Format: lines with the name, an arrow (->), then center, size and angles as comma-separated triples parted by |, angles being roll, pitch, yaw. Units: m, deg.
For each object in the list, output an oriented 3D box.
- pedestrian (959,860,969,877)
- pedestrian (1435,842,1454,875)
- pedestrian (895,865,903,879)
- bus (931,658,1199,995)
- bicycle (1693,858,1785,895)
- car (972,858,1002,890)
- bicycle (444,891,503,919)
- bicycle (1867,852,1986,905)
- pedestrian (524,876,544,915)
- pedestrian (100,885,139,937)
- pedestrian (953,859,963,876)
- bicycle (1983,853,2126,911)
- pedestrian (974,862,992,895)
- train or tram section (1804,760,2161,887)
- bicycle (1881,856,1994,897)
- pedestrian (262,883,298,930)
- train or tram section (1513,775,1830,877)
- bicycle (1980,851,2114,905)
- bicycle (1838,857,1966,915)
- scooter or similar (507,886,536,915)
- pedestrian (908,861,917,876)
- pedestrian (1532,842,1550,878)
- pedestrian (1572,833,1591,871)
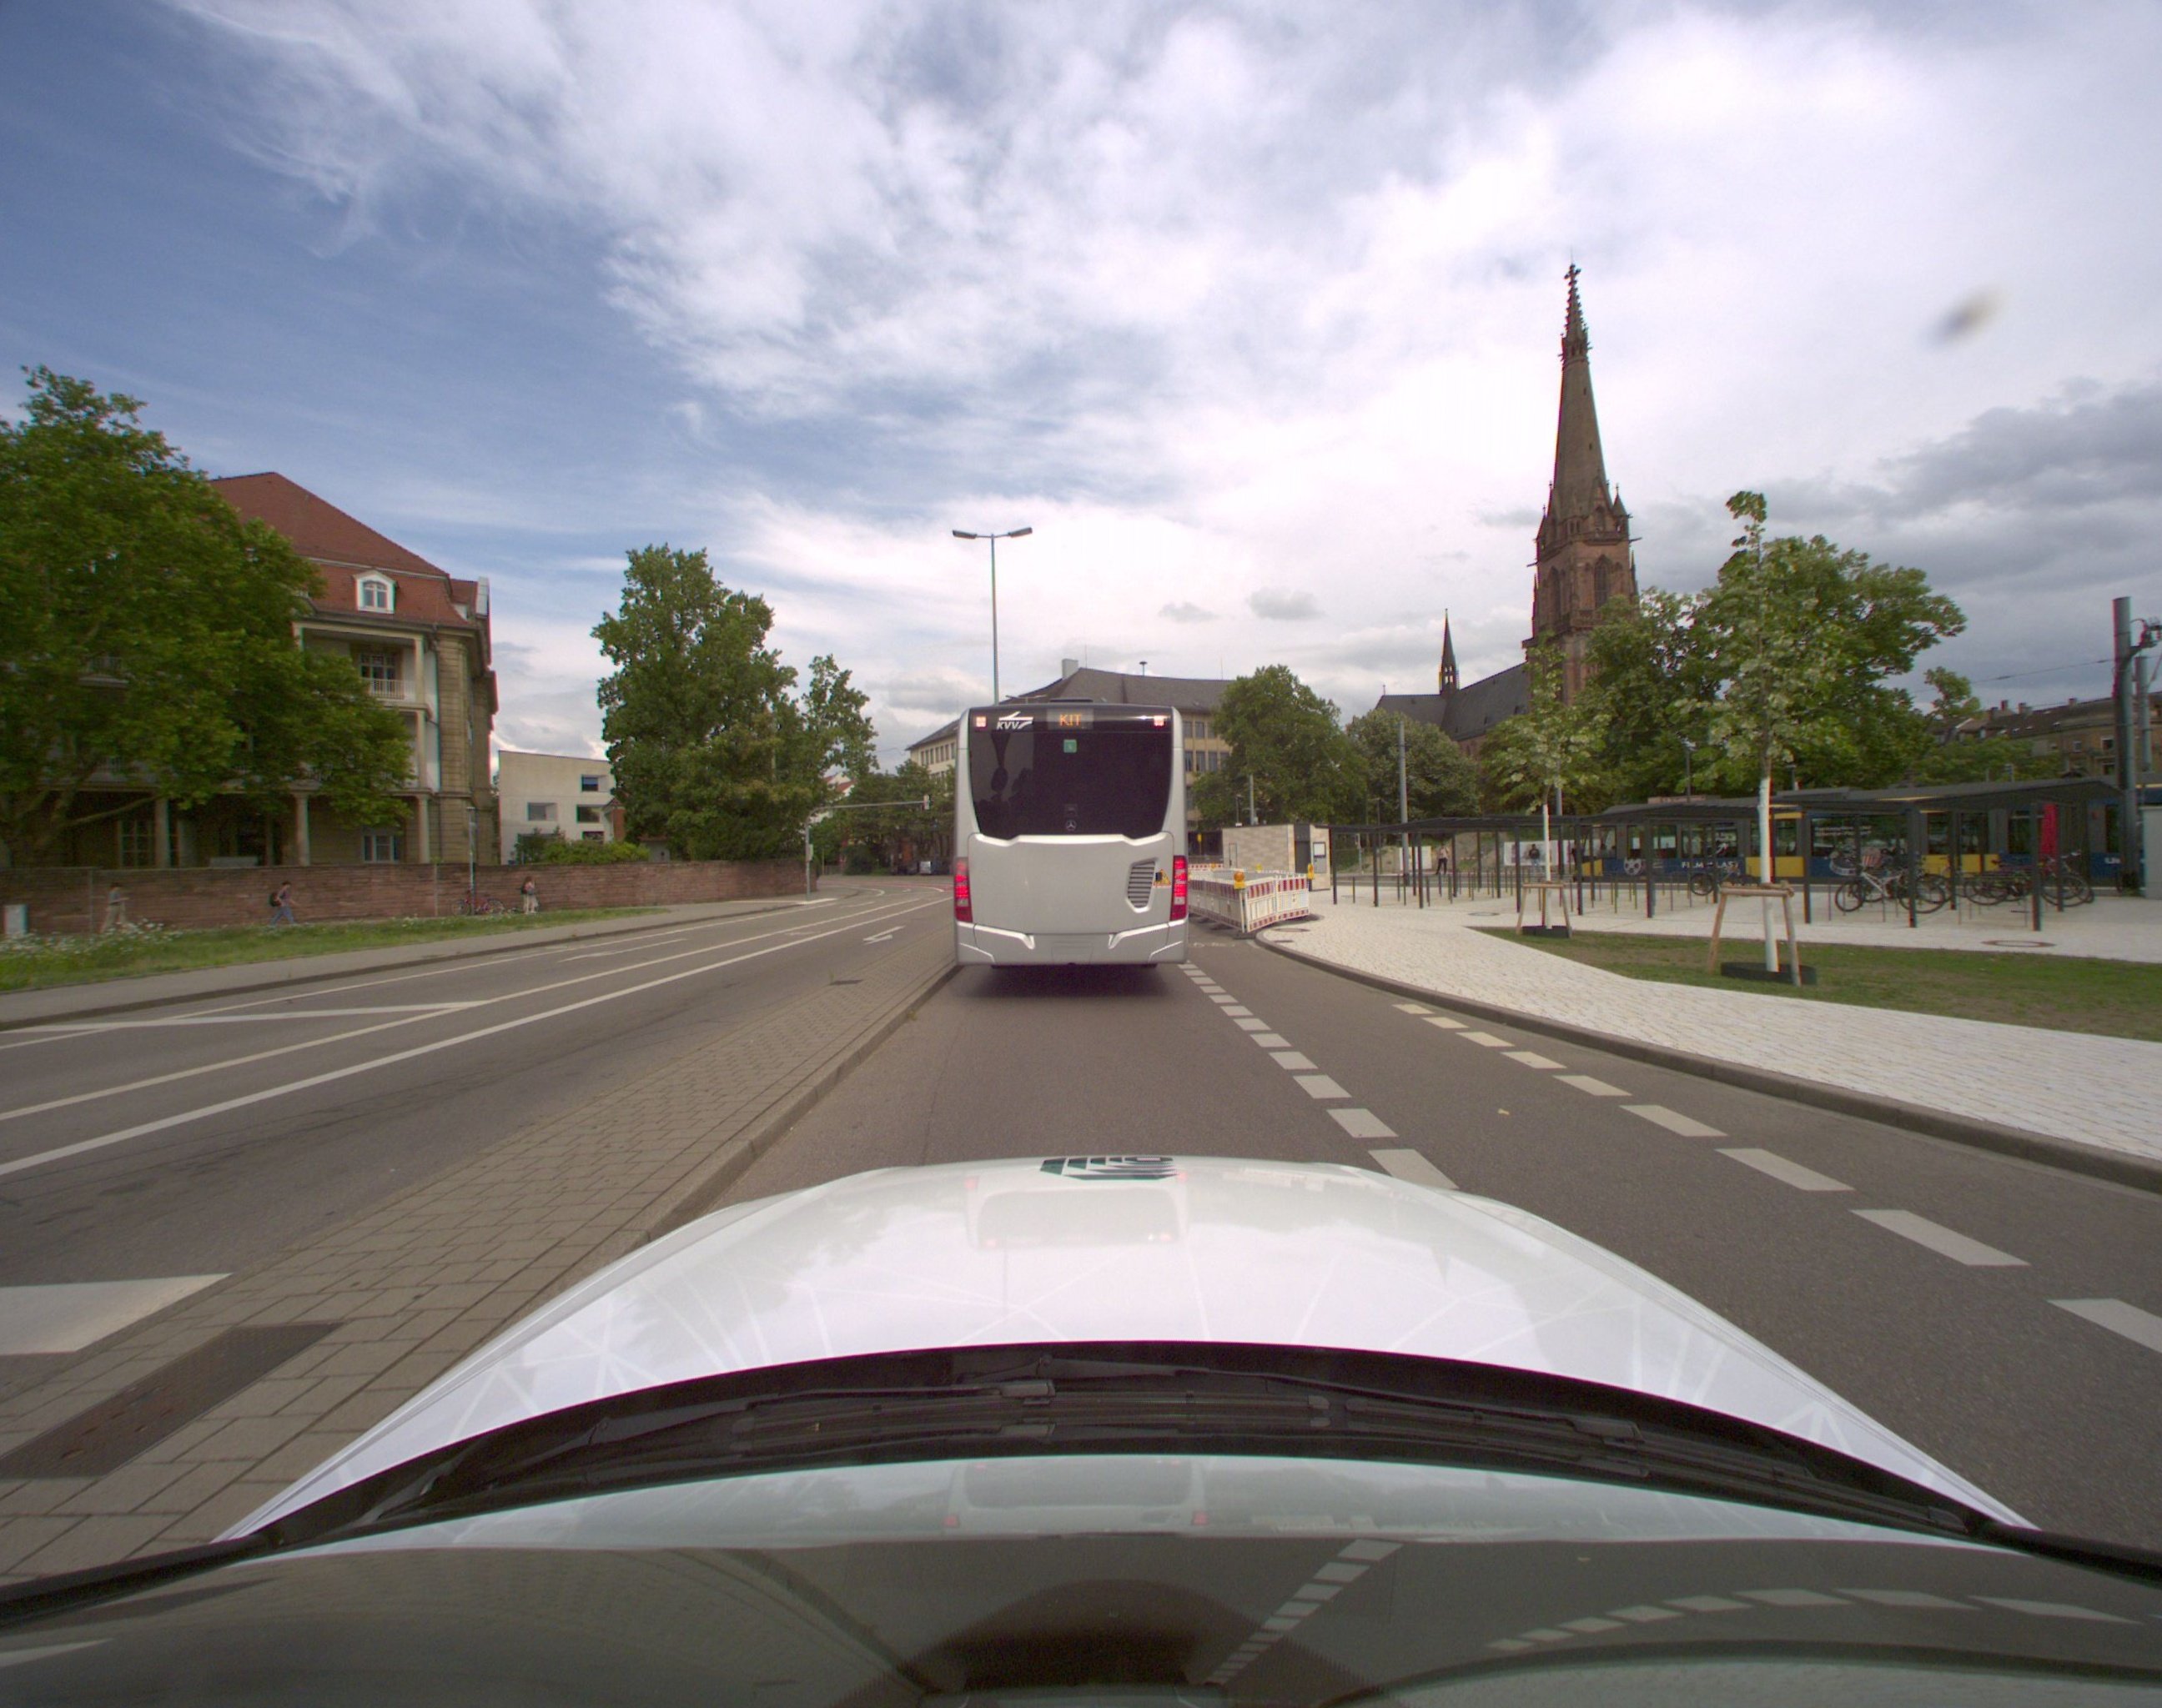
pedestrian -> -14.118, 1.733, 97.907 | 0.892, 2.013, 1.000 | -1, 0, -27
pedestrian -> 20.136, 0.231, 45.156 | 0.816, 1.800, 0.754 | -1, 2, 11
pedestrian -> -25.941, 2.573, 116.124 | 0.892, 2.013, 1.000 | -1, 0, -27
bus -> -0.437, -0.180, 15.509 | 2.698, 3.438, 14.169 | -1, -1, -2
bicycle -> 18.670, 0.617, 23.143 | 0.587, 0.955, 1.944 | -3, 2, -38
car -> -6.694, 1.380, 57.863 | 1.992, 2.013, 3.991 | -2, 2, -7
bicycle -> -25.921, 2.171, 34.778 | 1.937, 1.005, 0.770 | -3, 2, -43
bicycle -> 20.028, 0.555, 19.340 | 0.587, 1.156, 1.942 | -3, 2, -44
pedestrian -> -24.097, 1.824, 35.889 | 0.633, 1.654, 0.526 | -3, 2, -37
pedestrian -> -32.690, 1.921, 27.690 | 0.570, 1.654, 0.787 | 0, 2, 38
pedestrian -> -15.246, 1.656, 101.020 | 0.892, 2.013, 1.000 | -1, 0, -27
bicycle -> 21.085, 0.583, 17.705 | 0.587, 1.156, 1.942 | -3, 2, -44
pedestrian -> -5.262, 1.303, 43.779 | 0.793, 1.710, 0.841 | -1, 2, 4
train or tram section -> 27.292, -0.864, 23.410 | 3.076, 3.212, 9.328 | -3, 2, -35
bicycle -> 21.888, 0.548, 20.852 | 0.587, 0.970, 1.944 | -3, 2, -38
pedestrian -> -29.300, 1.913, 29.794 | 0.570, 1.654, 0.787 | 0, 2, 32
train or tram section -> 21.913, -1.017, 30.963 | 3.076, 3.276, 9.269 | -3, 2, -35
bicycle -> 22.140, 0.522, 18.721 | 0.587, 1.156, 1.942 | -3, 2, -44
bicycle -> 17.774, 0.670, 17.683 | 0.587, 1.156, 1.942 | -3, 2, -44
scooter or similar -> -24.826, 2.069, 36.137 | 0.519, 1.139, 1.512 | -2, 2, -14
pedestrian -> -23.158, 2.045, 112.029 | 0.892, 2.013, 1.000 | -1, 0, -27
pedestrian -> 22.949, 0.289, 40.637 | 0.526, 1.800, 0.670 | -3, 2, -42
pedestrian -> 24.137, -0.100, 39.275 | 0.526, 1.800, 0.670 | -3, 2, -42
